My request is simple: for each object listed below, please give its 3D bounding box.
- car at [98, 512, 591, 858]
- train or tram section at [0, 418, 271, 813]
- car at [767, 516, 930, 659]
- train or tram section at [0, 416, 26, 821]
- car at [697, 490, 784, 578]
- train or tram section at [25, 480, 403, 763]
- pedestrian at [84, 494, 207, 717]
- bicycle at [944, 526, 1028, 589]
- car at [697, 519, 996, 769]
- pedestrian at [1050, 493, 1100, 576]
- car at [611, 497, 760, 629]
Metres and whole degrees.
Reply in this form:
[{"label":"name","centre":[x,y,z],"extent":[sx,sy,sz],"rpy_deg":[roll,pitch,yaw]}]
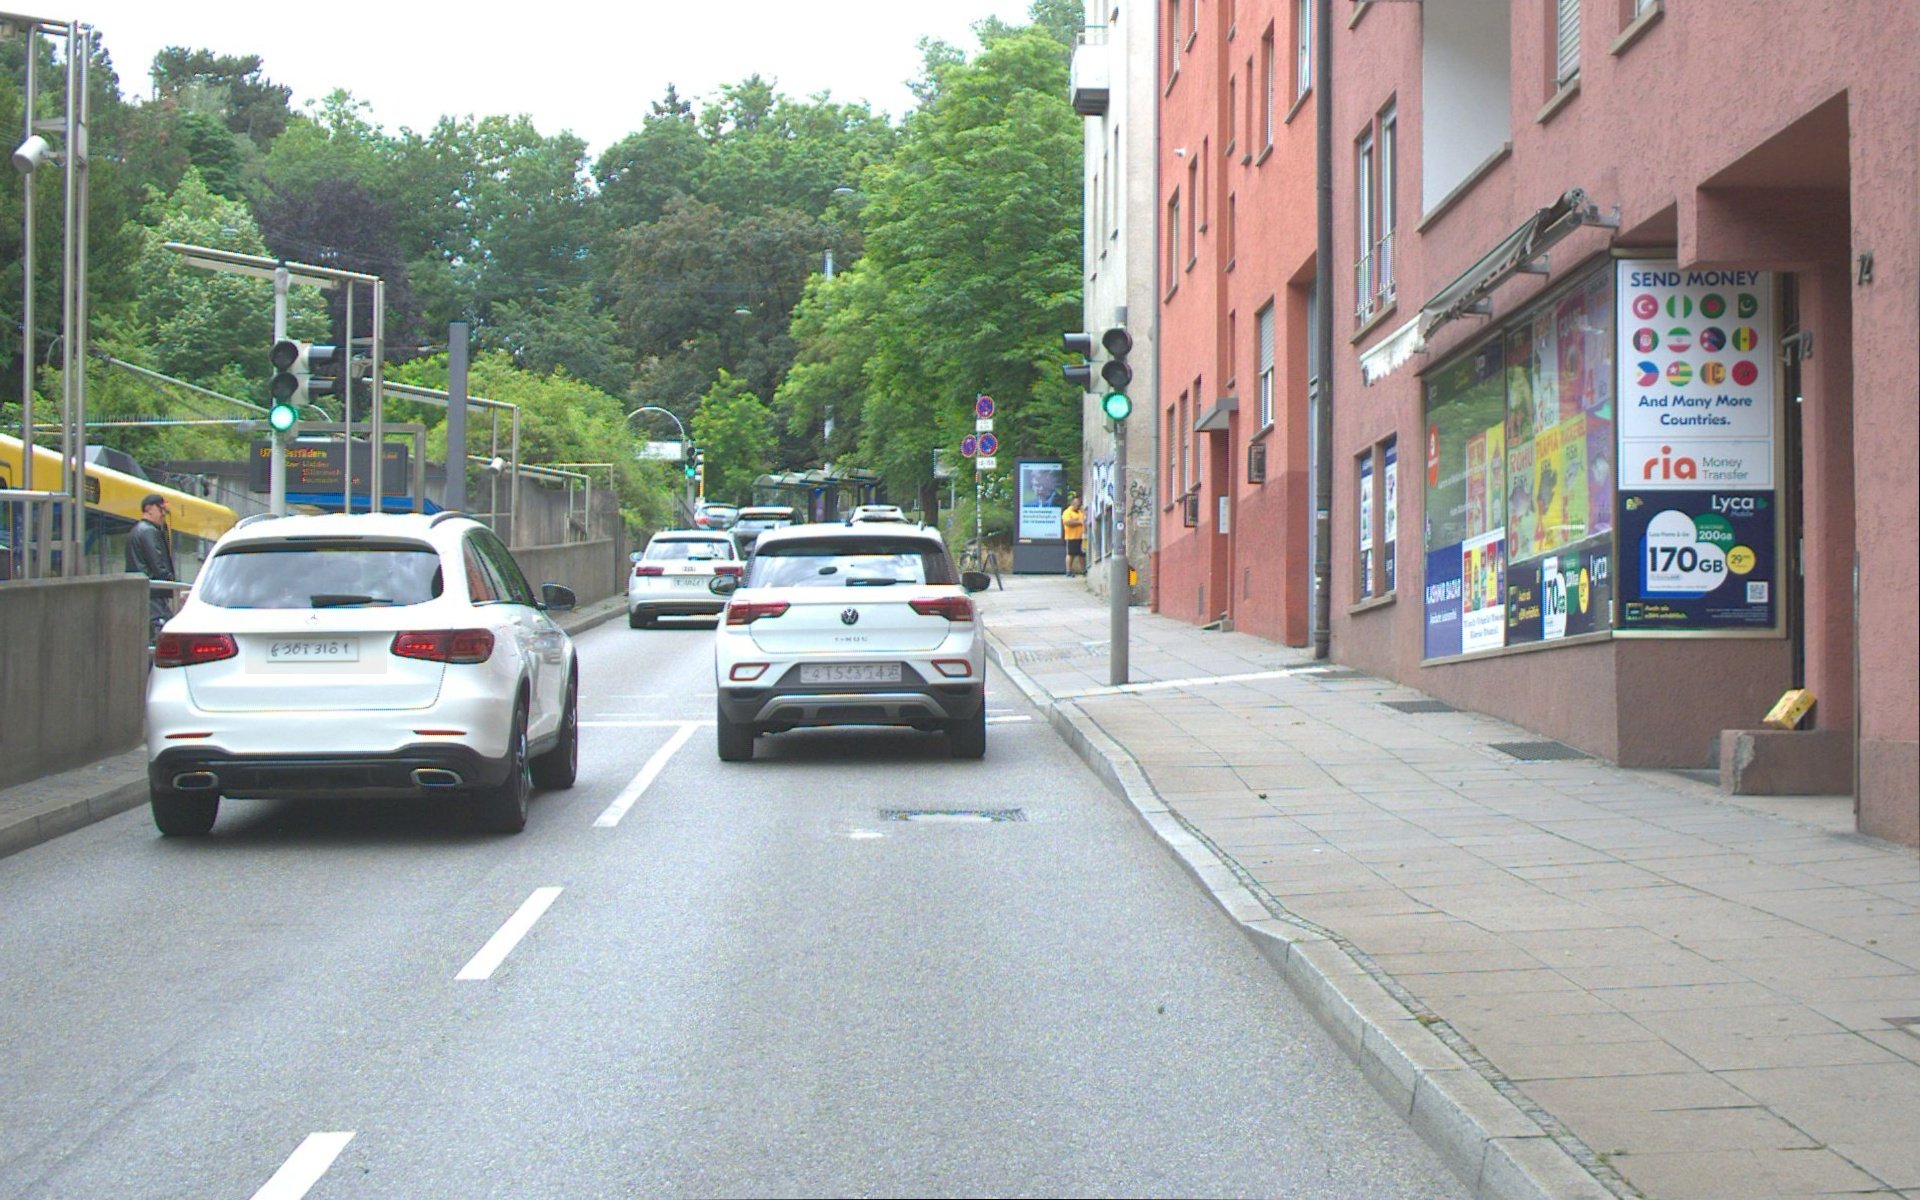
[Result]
[{"label":"car","centre":[-3.193,0.363,18.706],"extent":[1.877,1.646,4.342],"rpy_deg":[-1,1,0]},{"label":"train or tram section","centre":[-9.876,0.234,36.293],"extent":[2.949,3.472,12.219],"rpy_deg":[0,-1,-1]},{"label":"car","centre":[-1.314,-0.187,41.558],"extent":[1.861,1.626,3.959],"rpy_deg":[0,1,-1]},{"label":"train or tram section","centre":[-9.595,-0.043,24.111],"extent":[2.949,3.460,12.218],"rpy_deg":[0,-2,-1]},{"label":"car","centre":[-4.901,-1.484,77.084],"extent":[1.749,1.875,4.001],"rpy_deg":[2,1,-2]},{"label":"train or tram section","centre":[-10.253,0.299,48.924],"extent":[2.949,3.497,12.987],"rpy_deg":[0,0,-2]},{"label":"pedestrian","centre":[-6.591,0.038,27.853],"extent":[0.800,1.771,0.818],"rpy_deg":[1,1,-1]},{"label":"bicycle","centre":[0.489,-0.812,65.364],"extent":[0.639,1.139,2.066],"rpy_deg":[-6,3,-26]},{"label":"car","centre":[-0.711,0.233,23.591],"extent":[1.865,1.550,3.895],"rpy_deg":[1,1,0]},{"label":"pedestrian","centre":[2.420,-1.381,72.444],"extent":[0.832,1.706,0.822],"rpy_deg":[-1,1,-15]},{"label":"car","centre":[-4.118,-0.590,52.131],"extent":[1.993,1.875,4.001],"rpy_deg":[2,1,-2]}]
